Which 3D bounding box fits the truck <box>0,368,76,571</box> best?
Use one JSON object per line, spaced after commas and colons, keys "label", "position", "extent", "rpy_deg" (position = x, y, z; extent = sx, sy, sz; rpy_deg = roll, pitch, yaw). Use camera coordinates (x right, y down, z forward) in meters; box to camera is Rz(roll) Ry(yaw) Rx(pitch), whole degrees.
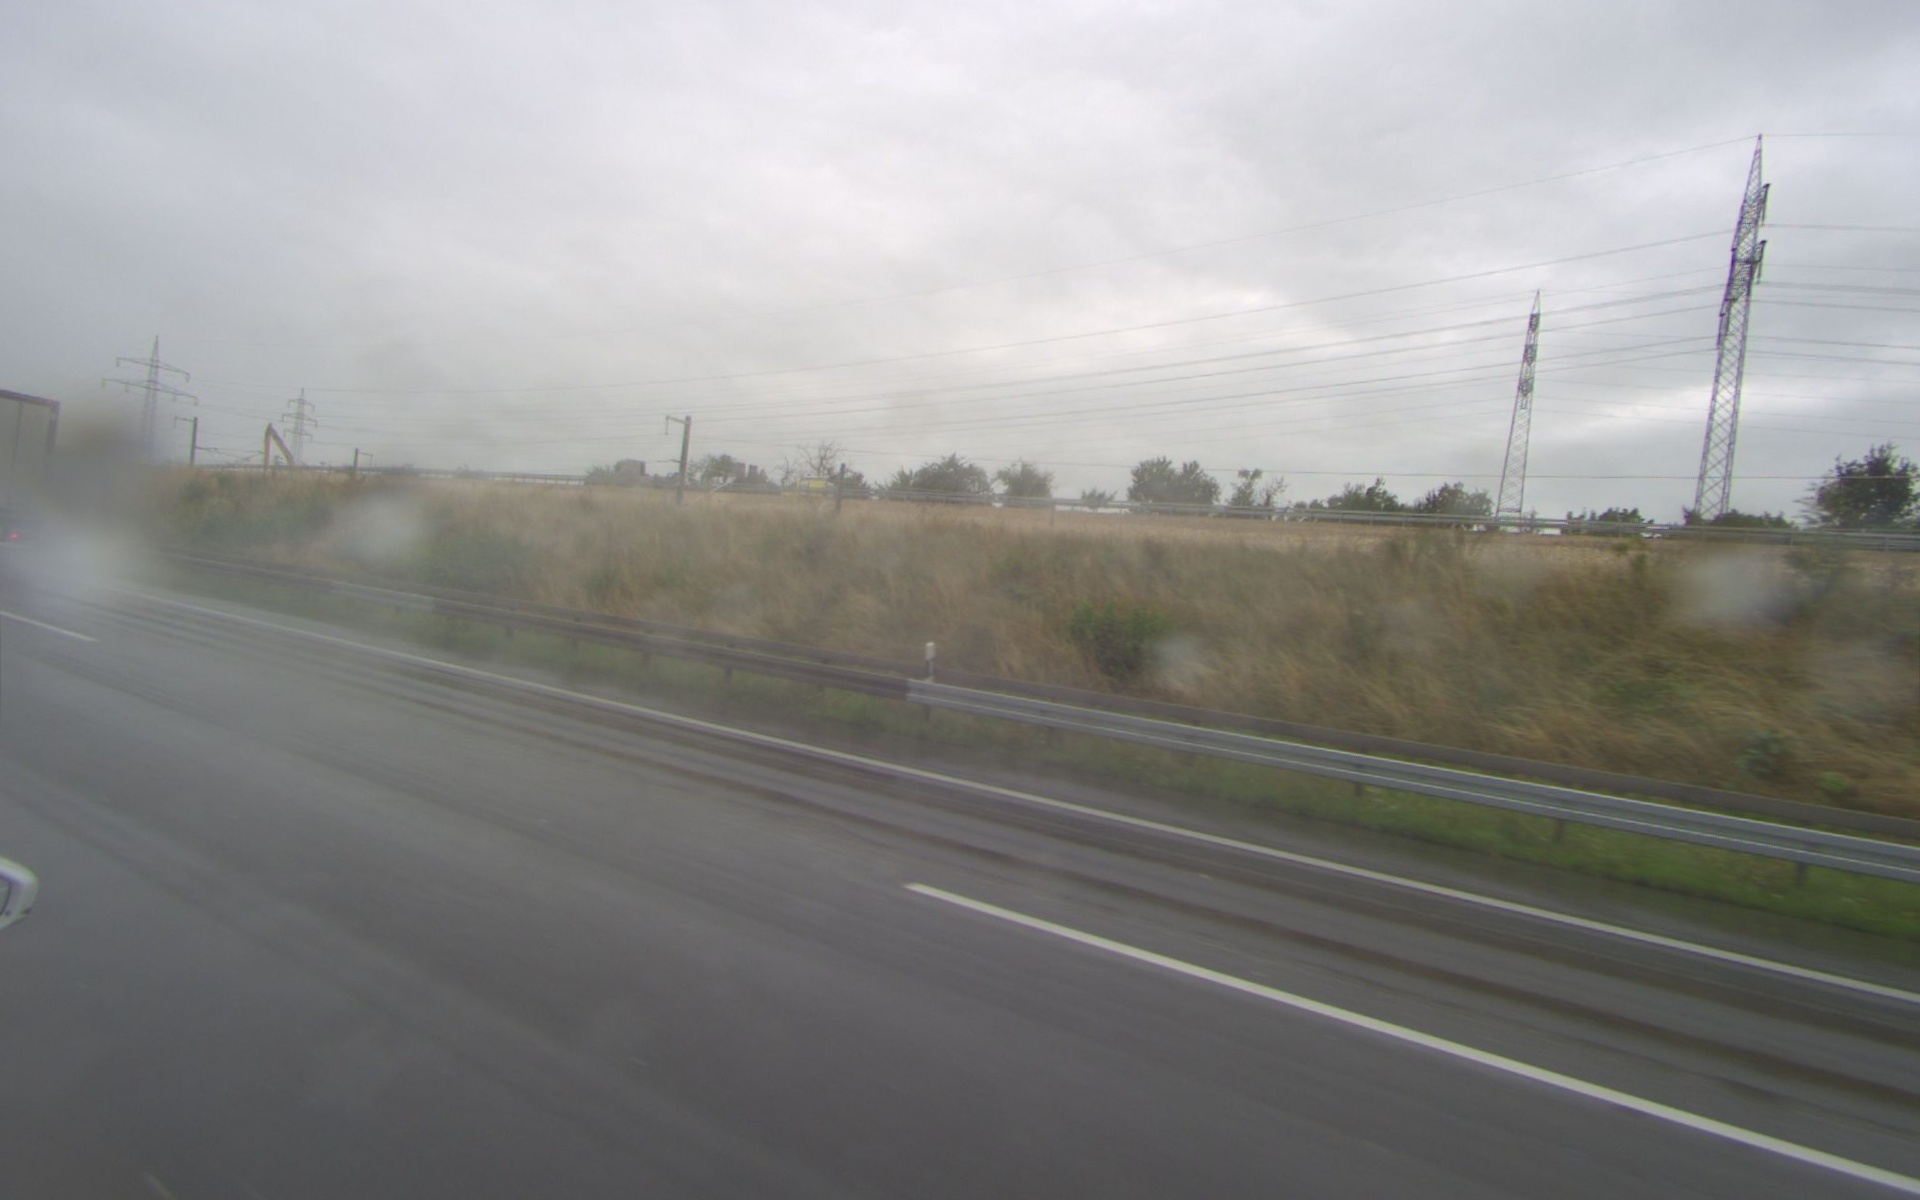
{"label": "truck", "position": [-29.778, -3.979, 27.681], "extent": [16.076, 4.641, 3.046], "rpy_deg": [7, -1, 31]}
